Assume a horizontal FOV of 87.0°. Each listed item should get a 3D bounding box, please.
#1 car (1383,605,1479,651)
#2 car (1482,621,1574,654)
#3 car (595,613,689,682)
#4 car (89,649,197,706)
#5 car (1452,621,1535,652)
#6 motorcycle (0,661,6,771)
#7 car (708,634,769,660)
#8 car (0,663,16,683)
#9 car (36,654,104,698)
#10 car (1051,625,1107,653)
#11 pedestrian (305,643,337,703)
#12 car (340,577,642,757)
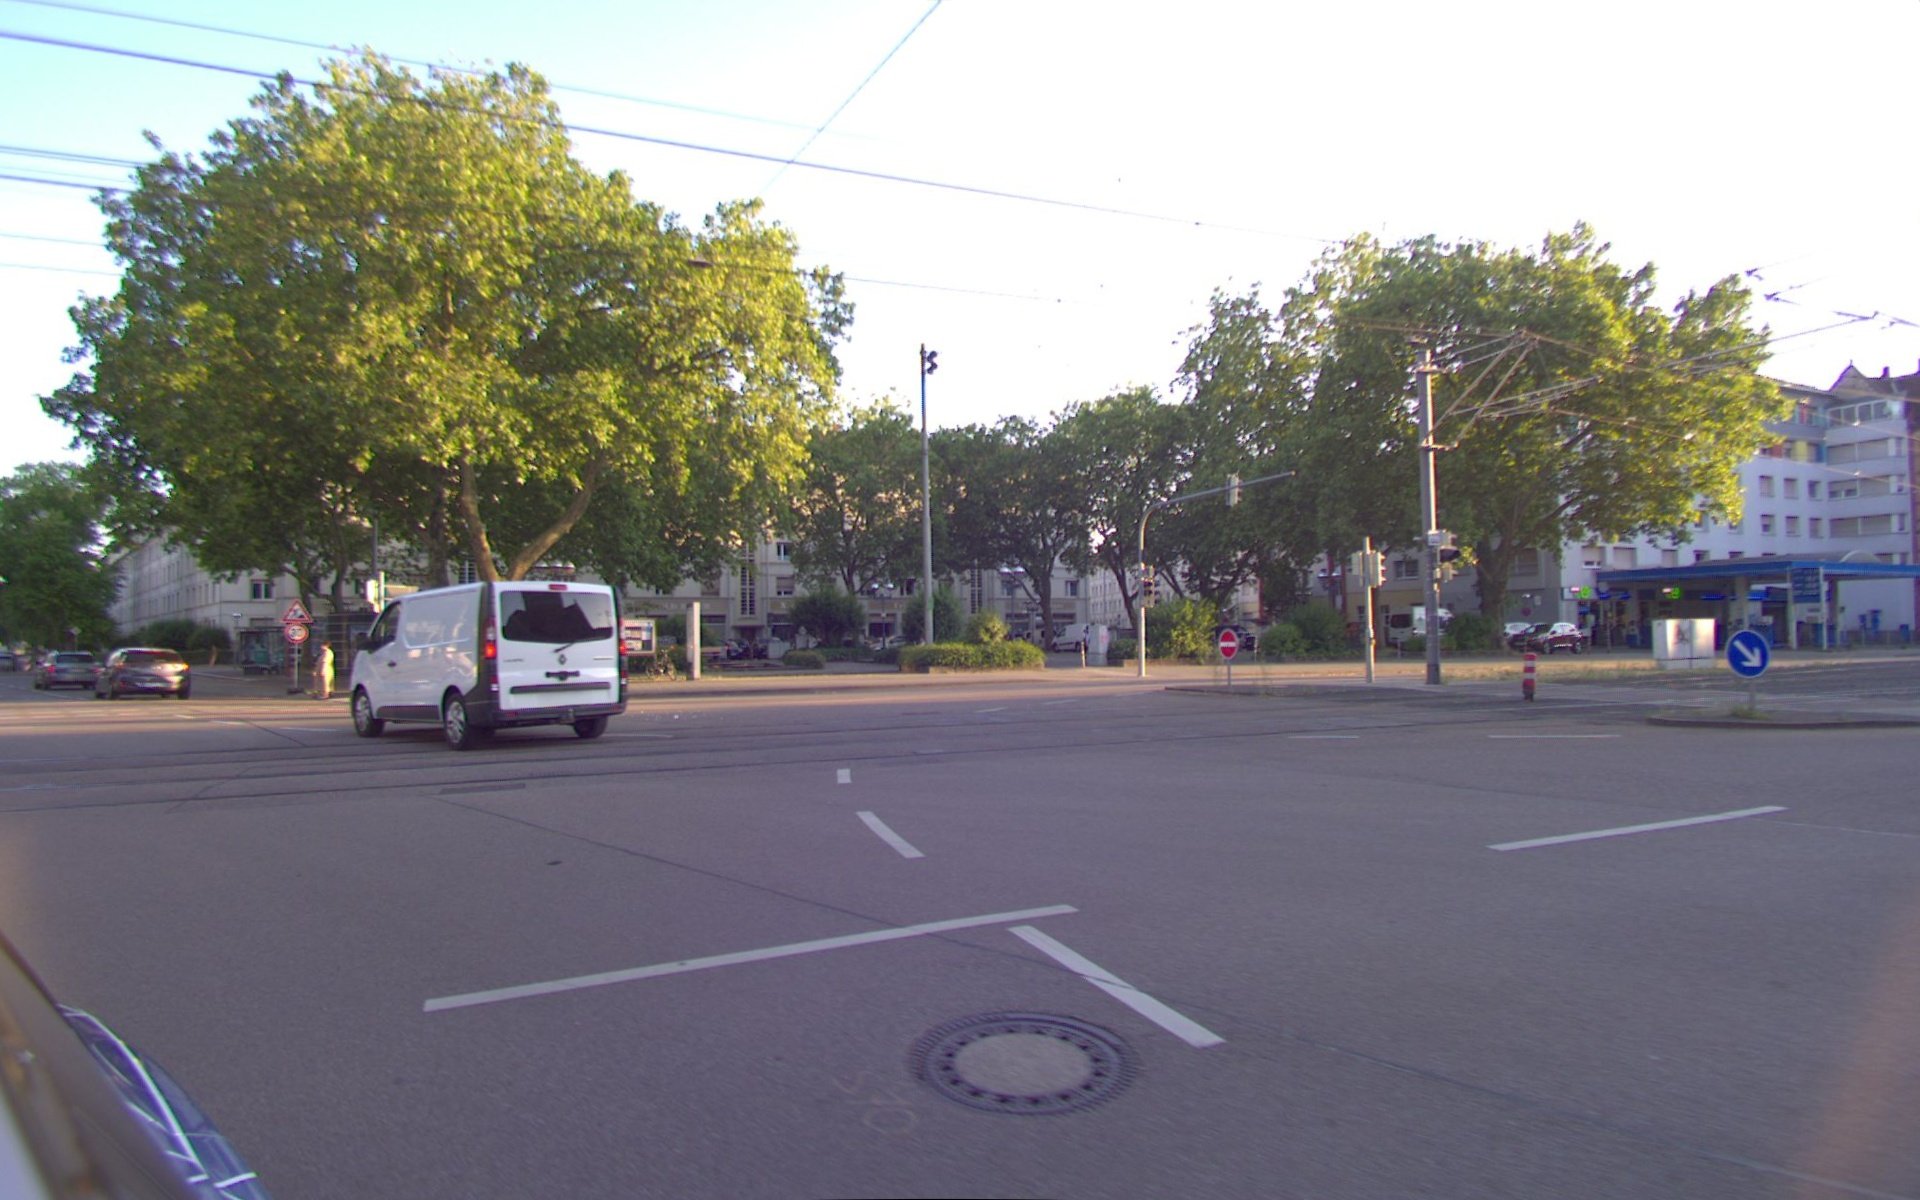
[{"bbox_3d":[28.011,1.675,60.138,5.482,2.638,2.006,0,-2,-25],"label":"car"},{"bbox_3d":[29.221,1.911,52.092,3.931,1.625,2.006,0,-2,-21],"label":"car"},{"bbox_3d":[-10.008,1.472,31.681,1.837,2.029,3.820,1,-3,-34],"label":"car"},{"bbox_3d":[-23.483,2.181,29.039,4.002,1.470,1.971,-3,-3,45],"label":"car"},{"bbox_3d":[28.727,1.975,54.510,3.931,1.586,1.789,0,-2,-21],"label":"car"},{"bbox_3d":[-11.378,1.225,10.554,2.784,1.139,0.903,-2,-2,20],"label":"motorcycle"},{"bbox_3d":[-15.014,3.170,68.422,3.932,1.719,2.005,0,-2,-15],"label":"car"},{"bbox_3d":[-74.970,5.692,78.887,1.970,1.438,4.003,1,-3,-44],"label":"car"},{"bbox_3d":[-35.243,2.965,40.041,1.769,1.592,4.002,1,-3,-45],"label":"car"},{"bbox_3d":[8.066,2.670,69.033,1.965,1.851,4.331,0,-2,-22],"label":"car"},{"bbox_3d":[-17.948,2.042,28.436,0.734,1.641,0.662,0,-2,-31],"label":"pedestrian"},{"bbox_3d":[-6.315,0.828,13.368,4.594,1.971,1.966,-3,-3,42],"label":"car"}]
